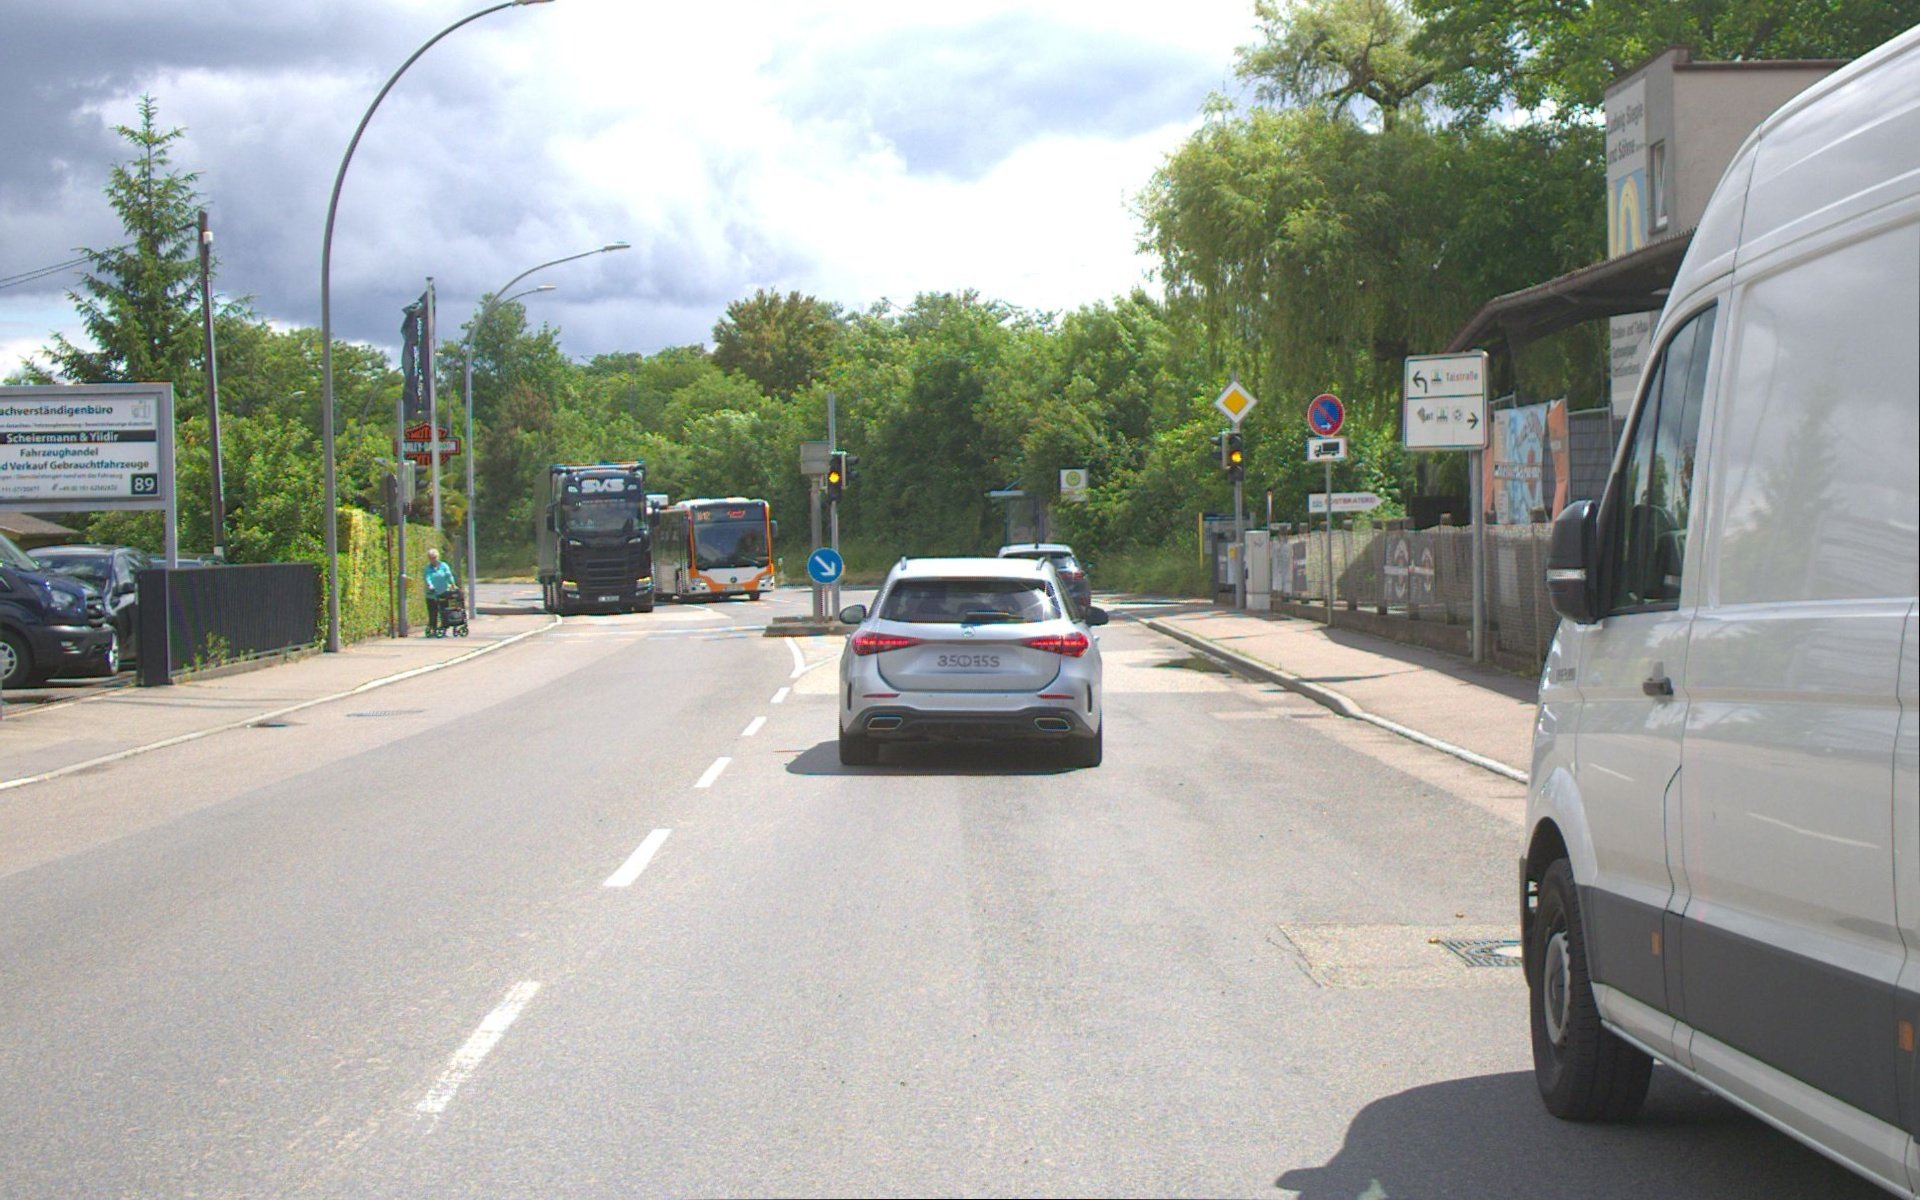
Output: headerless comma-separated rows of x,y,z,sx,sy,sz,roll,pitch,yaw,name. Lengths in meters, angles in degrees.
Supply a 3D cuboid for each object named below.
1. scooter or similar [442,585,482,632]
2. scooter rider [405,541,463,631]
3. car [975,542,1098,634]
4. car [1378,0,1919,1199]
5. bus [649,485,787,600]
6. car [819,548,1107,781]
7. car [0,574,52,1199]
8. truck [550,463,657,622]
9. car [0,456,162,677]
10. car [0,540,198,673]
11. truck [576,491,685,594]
-8.864,0.146,61.154,0.611,0.829,0.659,0,1,0,scooter or similar
-9.421,-0.250,61.582,0.878,1.584,0.796,-1,1,0,scooter rider
1.279,-0.235,59.116,1.884,1.503,4.000,-1,1,-2,car
2.565,-0.065,7.449,2.215,2.680,6.658,-2,1,-2,car
-7.615,-1.741,106.498,2.777,3.255,12.127,-2,1,-11,bus
-0.029,0.395,24.726,1.884,1.503,4.000,-1,1,-1,car
-2.985,0.765,5.656,1.900,1.512,4.319,-2,1,-2,car
-9.837,-1.544,94.130,2.428,4.117,9.152,1,0,-9,truck
-12.720,-0.341,40.441,6.037,2.488,2.477,-2,1,0,car
-11.246,0.052,44.417,2.031,1.589,4.285,-2,1,-3,car
-12.057,-2.062,124.995,2.839,3.528,9.727,-2,1,-11,truck
